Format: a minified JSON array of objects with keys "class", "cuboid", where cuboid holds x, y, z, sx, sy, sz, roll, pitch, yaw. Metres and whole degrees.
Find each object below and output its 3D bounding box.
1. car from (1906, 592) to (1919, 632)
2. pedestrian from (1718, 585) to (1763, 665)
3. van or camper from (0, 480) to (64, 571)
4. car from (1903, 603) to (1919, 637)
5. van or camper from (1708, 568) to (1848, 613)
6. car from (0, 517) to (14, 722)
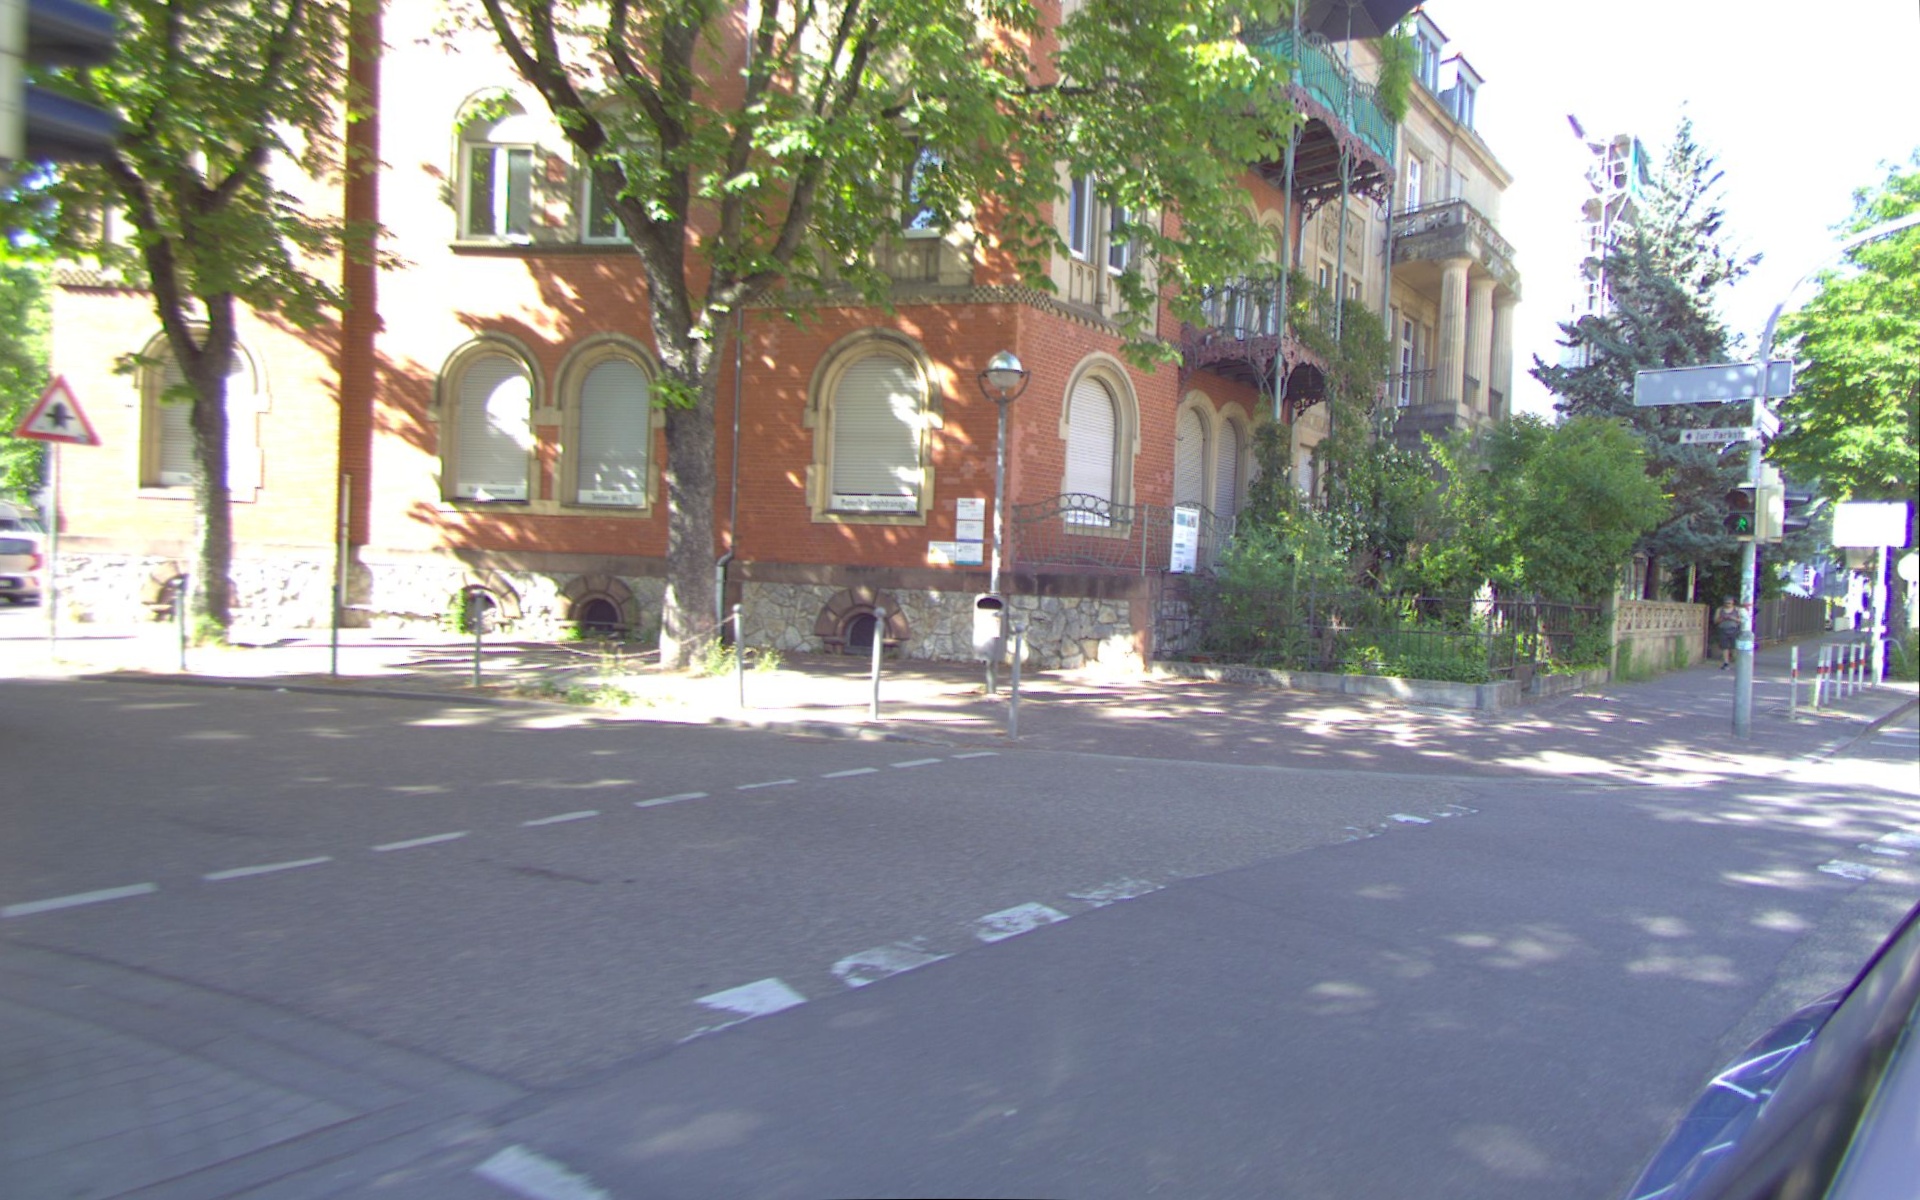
[{"class":"car","cuboid":[60.336,0.789,62.789,2.127,2.371,5.716,5,4,42]},{"class":"pedestrian","cuboid":[17.147,0.534,22.231,0.636,1.691,0.593,0,4,-44]},{"class":"van or camper","cuboid":[-38.675,-2.860,38.306,6.638,3.428,2.635,0,1,-27]},{"class":"car","cuboid":[47.683,1.014,49.670,1.872,1.561,4.299,5,4,42]},{"class":"van or camper","cuboid":[51.557,-0.669,64.023,2.078,2.659,6.753,1,1,-20]},{"class":"car","cuboid":[-9.150,0.109,7.237,3.946,1.506,1.811,1,1,18]}]
